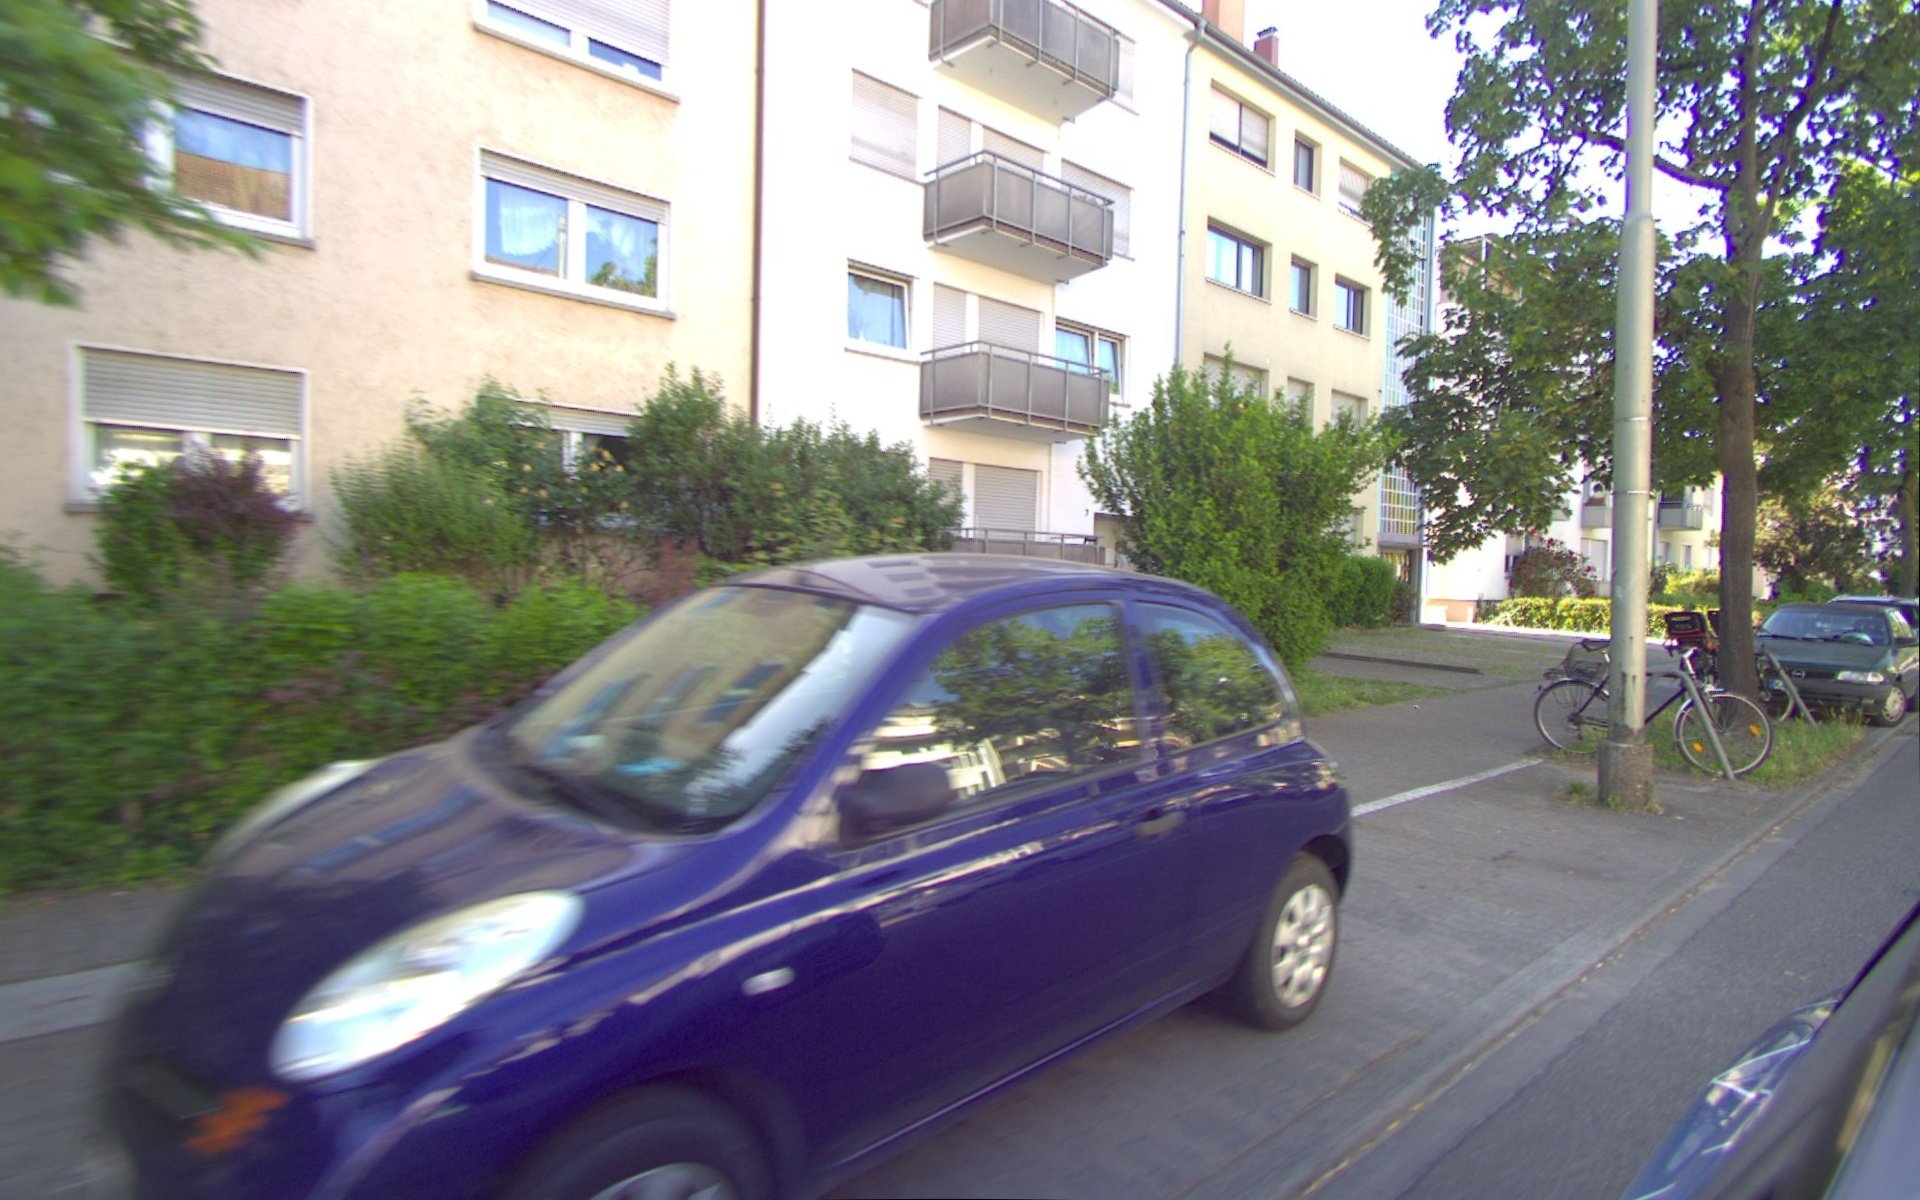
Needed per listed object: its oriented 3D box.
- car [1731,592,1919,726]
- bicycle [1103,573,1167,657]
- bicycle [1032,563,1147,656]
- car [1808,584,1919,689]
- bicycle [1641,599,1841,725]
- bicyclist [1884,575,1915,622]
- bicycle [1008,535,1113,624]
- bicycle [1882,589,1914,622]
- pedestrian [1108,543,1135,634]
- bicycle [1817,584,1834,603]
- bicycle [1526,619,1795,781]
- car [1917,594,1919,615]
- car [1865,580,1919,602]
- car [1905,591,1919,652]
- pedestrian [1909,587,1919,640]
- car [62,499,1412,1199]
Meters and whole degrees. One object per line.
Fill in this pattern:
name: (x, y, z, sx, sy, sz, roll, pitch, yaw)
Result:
car: (11.453, 0.644, 13.054, 3.906, 1.400, 1.615, 0, 3, -41)
bicycle: (2.877, 0.224, 16.788, 0.454, 1.237, 1.544, 3, 4, -11)
bicycle: (1.974, 0.132, 15.311, 1.810, 1.302, 0.624, 0, 5, -42)
car: (15.576, 0.541, 16.852, 4.163, 1.507, 1.716, 0, 3, -43)
bicycle: (8.454, 0.654, 11.004, 1.641, 1.252, 0.470, 2, 1, 11)
bicyclist: (37.560, -0.075, 40.456, 0.998, 1.815, 0.725, 0, 3, -42)
bicycle: (1.586, -0.321, 15.861, 1.660, 1.302, 0.593, 0, 5, -42)
bicycle: (37.316, 0.203, 40.258, 1.790, 1.262, 0.699, 0, 3, -42)
pedestrian: (3.166, -0.229, 19.833, 0.364, 1.759, 0.360, -2, -1, 43)
bicycle: (49.471, -0.372, 57.852, 1.713, 1.004, 0.456, -2, 5, -42)
bicycle: (5.790, 0.771, 8.481, 0.514, 1.034, 1.747, -2, 6, -33)
car: (62.215, 0.344, 64.411, 3.654, 1.372, 1.535, 0, 5, -42)
car: (75.235, -0.691, 80.935, 1.799, 1.458, 3.997, 0, 6, -41)
car: (25.096, 0.551, 25.274, 4.074, 1.445, 1.696, 0, 3, -41)
pedestrian: (31.807, 0.447, 33.344, 0.762, 1.703, 0.671, 0, 2, -42)
car: (-0.236, 0.592, 3.003, 3.594, 1.533, 1.562, 0, 4, -44)
